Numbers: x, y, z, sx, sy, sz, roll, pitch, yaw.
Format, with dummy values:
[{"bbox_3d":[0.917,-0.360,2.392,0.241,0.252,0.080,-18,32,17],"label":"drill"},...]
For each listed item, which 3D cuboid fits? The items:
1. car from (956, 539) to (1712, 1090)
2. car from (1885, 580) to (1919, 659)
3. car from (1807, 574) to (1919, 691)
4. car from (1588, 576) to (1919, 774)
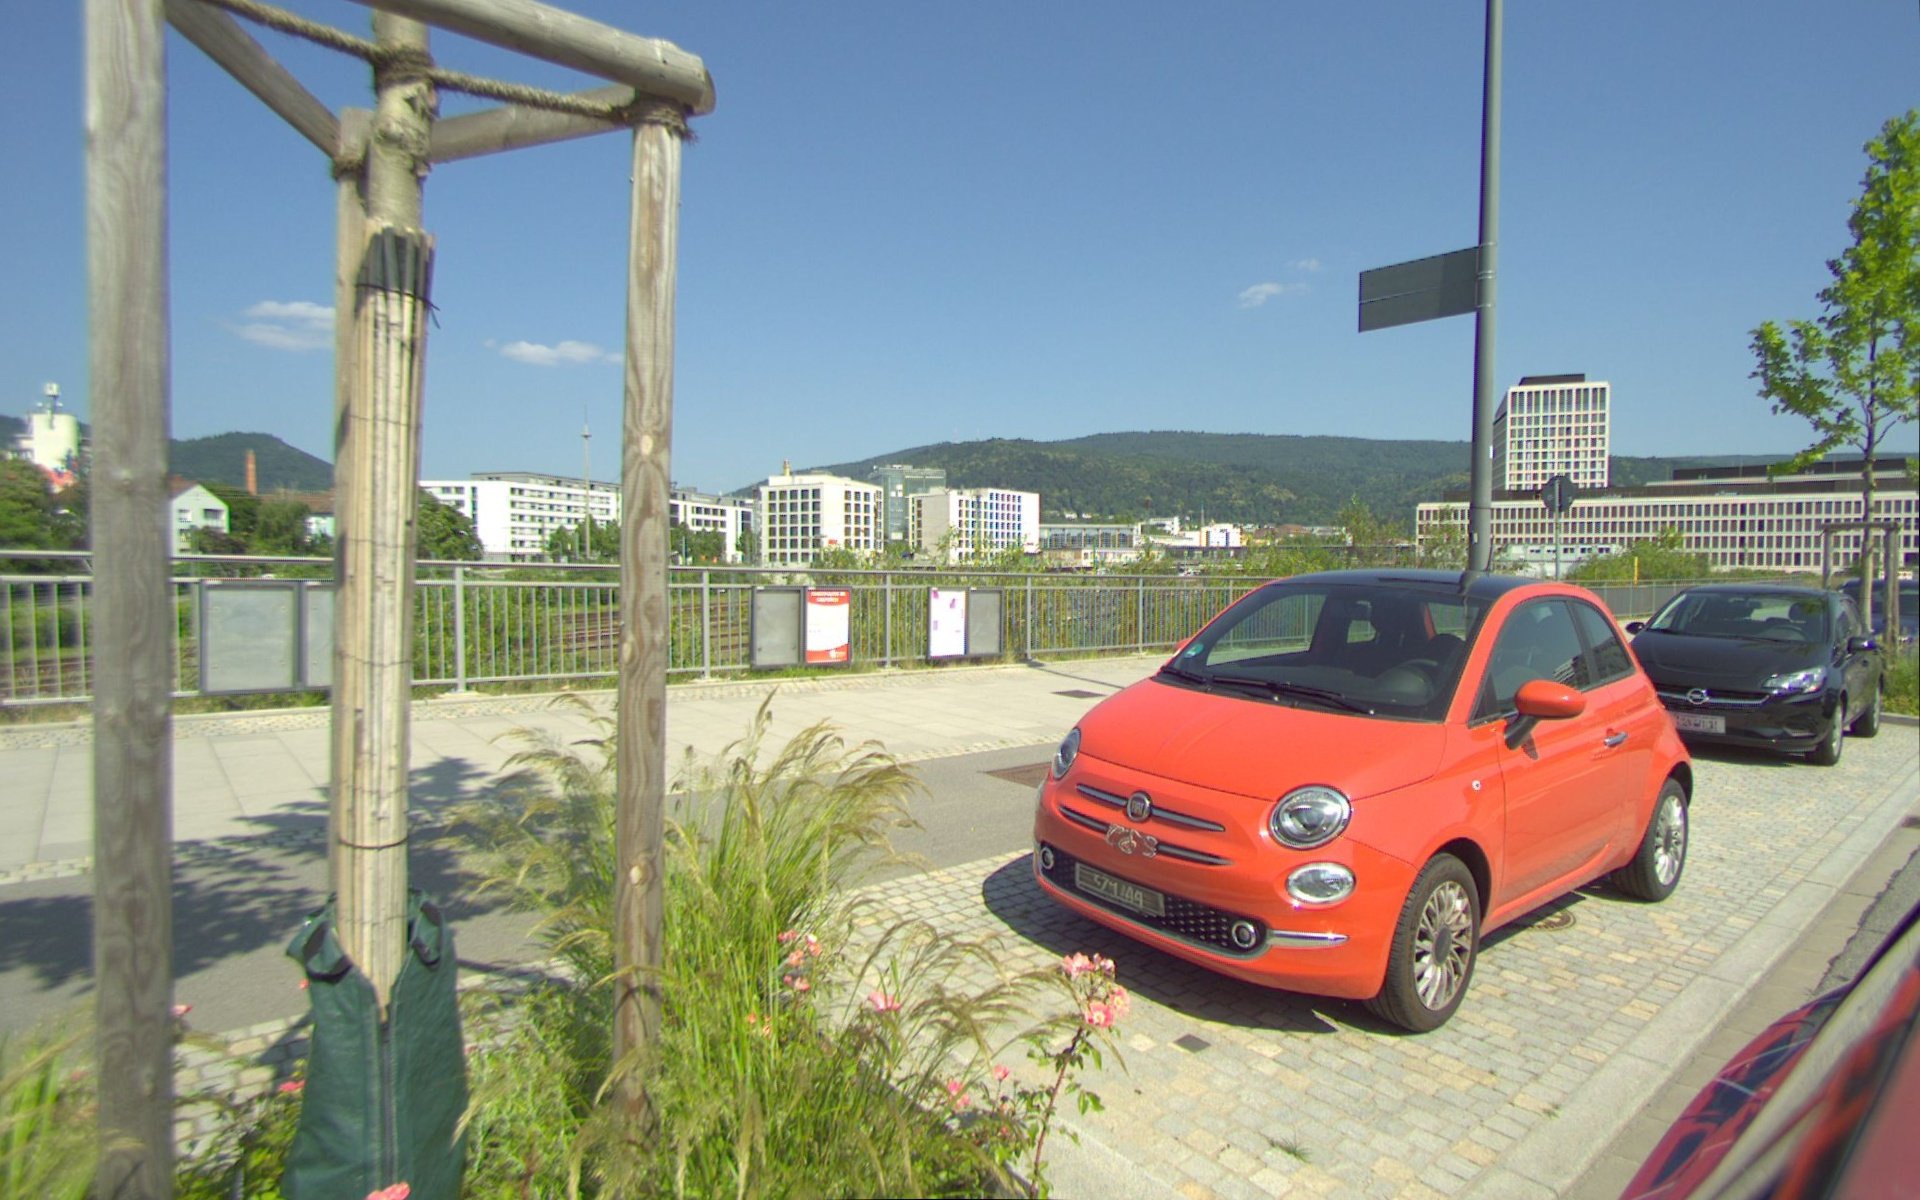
[{"bbox_3d":[1.783,0.545,4.447,3.292,1.515,1.615,0,3,-39],"label":"car"},{"bbox_3d":[20.000,0.344,20.284,3.929,1.473,1.663,-1,1,-40],"label":"car"},{"bbox_3d":[14.672,0.409,15.601,4.163,1.627,1.768,-1,1,-40],"label":"car"},{"bbox_3d":[7.767,0.537,9.686,3.927,1.443,1.665,-1,4,-38],"label":"car"}]
